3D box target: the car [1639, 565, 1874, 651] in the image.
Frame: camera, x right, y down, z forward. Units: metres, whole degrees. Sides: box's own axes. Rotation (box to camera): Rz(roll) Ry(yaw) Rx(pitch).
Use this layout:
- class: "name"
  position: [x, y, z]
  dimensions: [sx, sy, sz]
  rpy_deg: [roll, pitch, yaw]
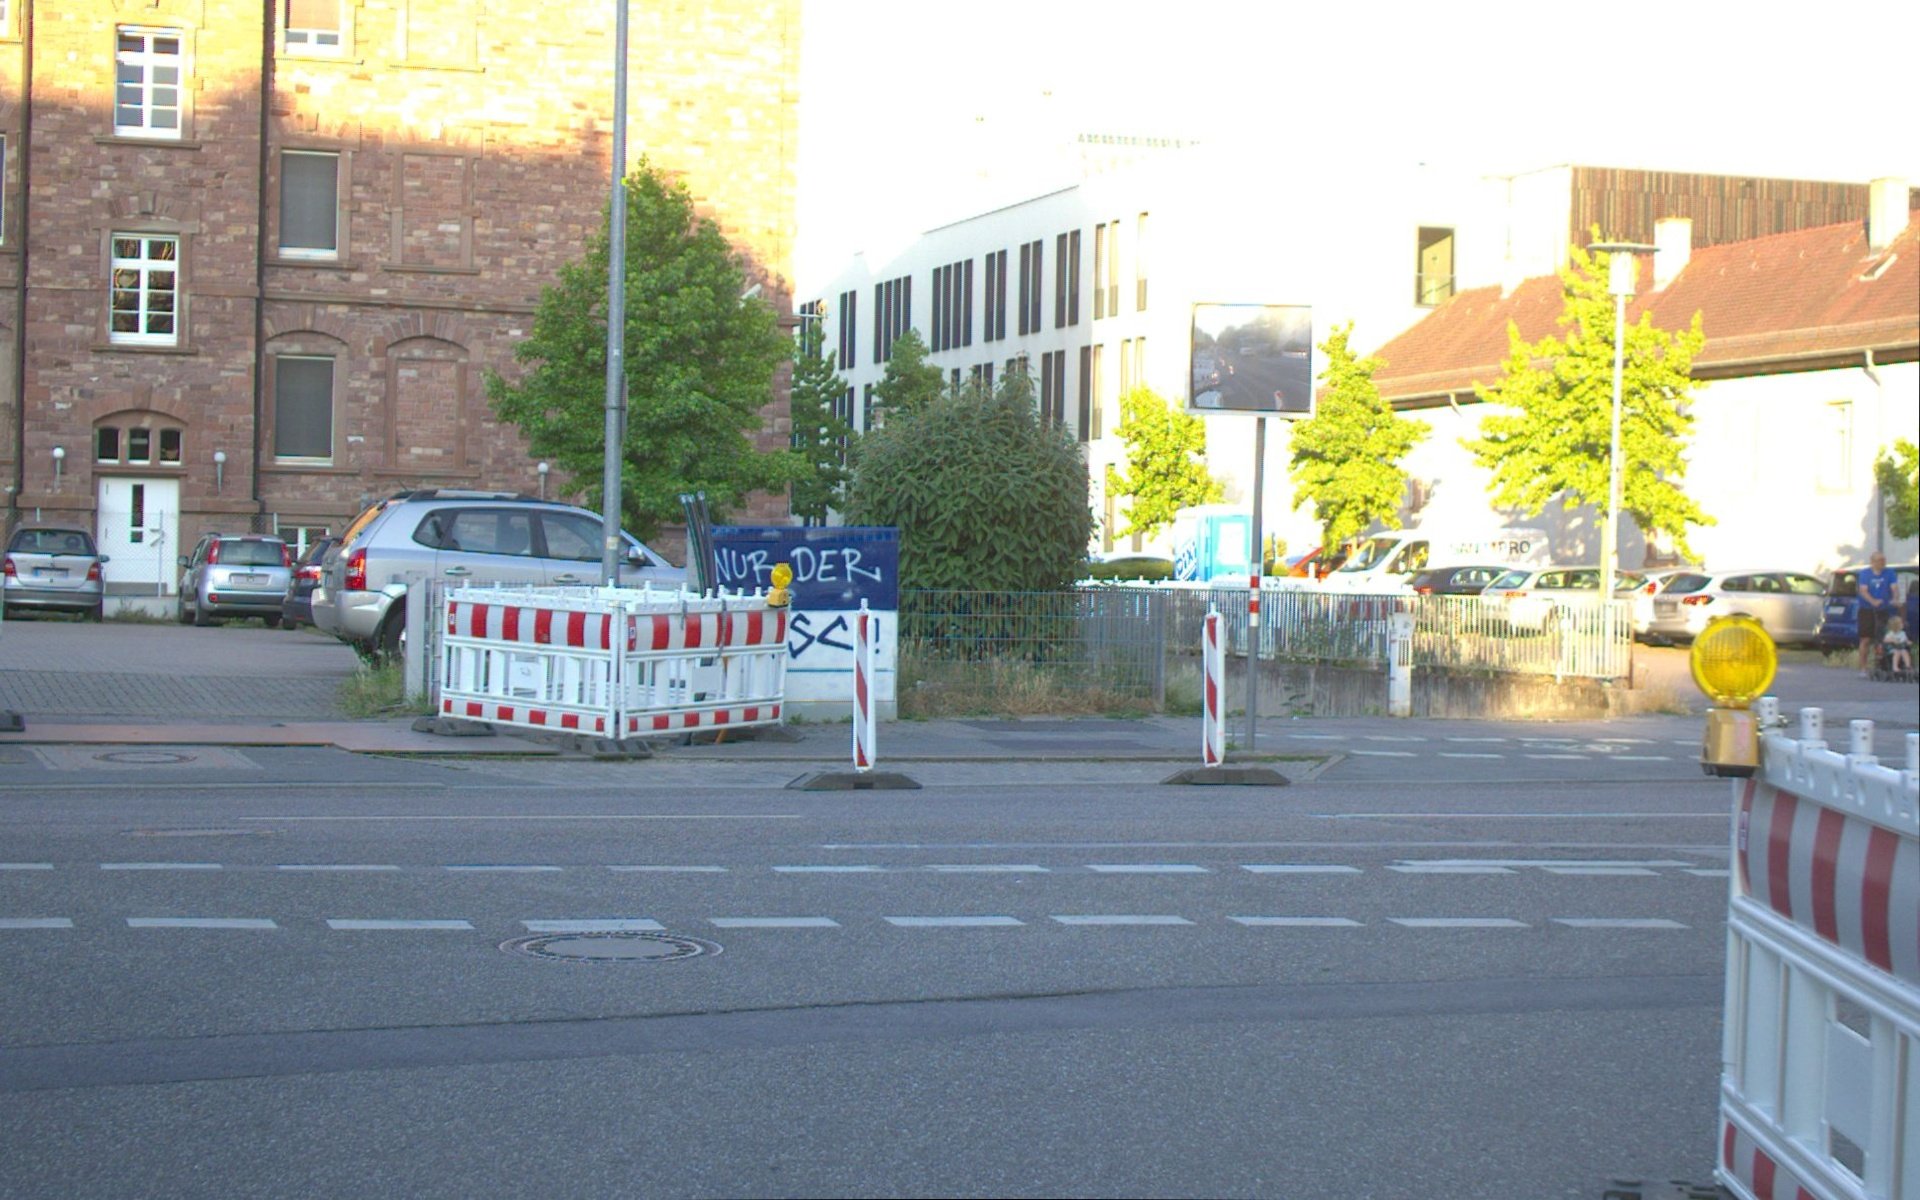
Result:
- class: "car"
  position: [14.169, 0.138, 61.207]
  dimensions: [3.739, 1.440, 1.687]
  rpy_deg: [1, 0, -21]

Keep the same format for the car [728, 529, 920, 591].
- class: "car"
  position: [-3.095, -0.910, 78.041]
  dimensions: [3.986, 1.308, 1.878]
  rpy_deg: [1, 1, -18]

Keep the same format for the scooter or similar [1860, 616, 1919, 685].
- class: "scooter or similar"
  position: [12.293, 0.660, 45.214]
  dimensions: [0.513, 0.887, 0.806]
  rpy_deg: [1, 0, -17]

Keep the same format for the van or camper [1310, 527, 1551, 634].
- class: "van or camper"
  position: [10.229, -0.418, 74.721]
  dimensions: [4.961, 2.233, 1.687]
  rpy_deg: [1, 0, -21]

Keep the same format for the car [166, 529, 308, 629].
- class: "car"
  position: [-11.882, -0.368, 56.340]
  dimensions: [1.896, 1.532, 4.180]
  rpy_deg: [1, 1, -17]

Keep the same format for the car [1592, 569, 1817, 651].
- class: "car"
  position: [13.826, 0.179, 63.856]
  dimensions: [3.739, 1.440, 1.687]
  rpy_deg: [1, 0, -21]

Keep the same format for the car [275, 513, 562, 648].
- class: "car"
  position: [-7.114, -0.256, 45.074]
  dimensions: [3.474, 1.703, 1.669]
  rpy_deg: [1, 1, -18]

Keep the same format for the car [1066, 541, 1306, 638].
- class: "car"
  position: [3.898, -0.185, 59.414]
  dimensions: [3.739, 1.597, 1.687]
  rpy_deg: [1, 0, -21]

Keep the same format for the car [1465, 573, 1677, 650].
- class: "car"
  position: [12.003, 0.230, 67.521]
  dimensions: [3.739, 1.440, 1.687]
  rpy_deg: [1, 0, -21]

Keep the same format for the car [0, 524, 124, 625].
- class: "car"
  position: [-14.678, -0.439, 55.837]
  dimensions: [1.896, 1.532, 4.180]
  rpy_deg: [1, 1, -17]

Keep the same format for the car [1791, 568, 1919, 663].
- class: "car"
  position: [15.859, 0.264, 56.980]
  dimensions: [3.739, 1.523, 1.687]
  rpy_deg: [1, 0, -21]

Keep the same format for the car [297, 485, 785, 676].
- class: "car"
  position: [-3.936, -0.179, 32.203]
  dimensions: [4.268, 1.703, 1.703]
  rpy_deg: [1, 1, -18]

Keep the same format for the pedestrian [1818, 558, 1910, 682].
- class: "pedestrian"
  position: [12.126, 0.261, 46.140]
  dimensions: [0.749, 1.637, 1.015]
  rpy_deg: [1, 0, -16]

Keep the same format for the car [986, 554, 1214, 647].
- class: "car"
  position: [2.540, 0.009, 62.297]
  dimensions: [3.739, 1.597, 1.687]
  rpy_deg: [1, 0, -21]
